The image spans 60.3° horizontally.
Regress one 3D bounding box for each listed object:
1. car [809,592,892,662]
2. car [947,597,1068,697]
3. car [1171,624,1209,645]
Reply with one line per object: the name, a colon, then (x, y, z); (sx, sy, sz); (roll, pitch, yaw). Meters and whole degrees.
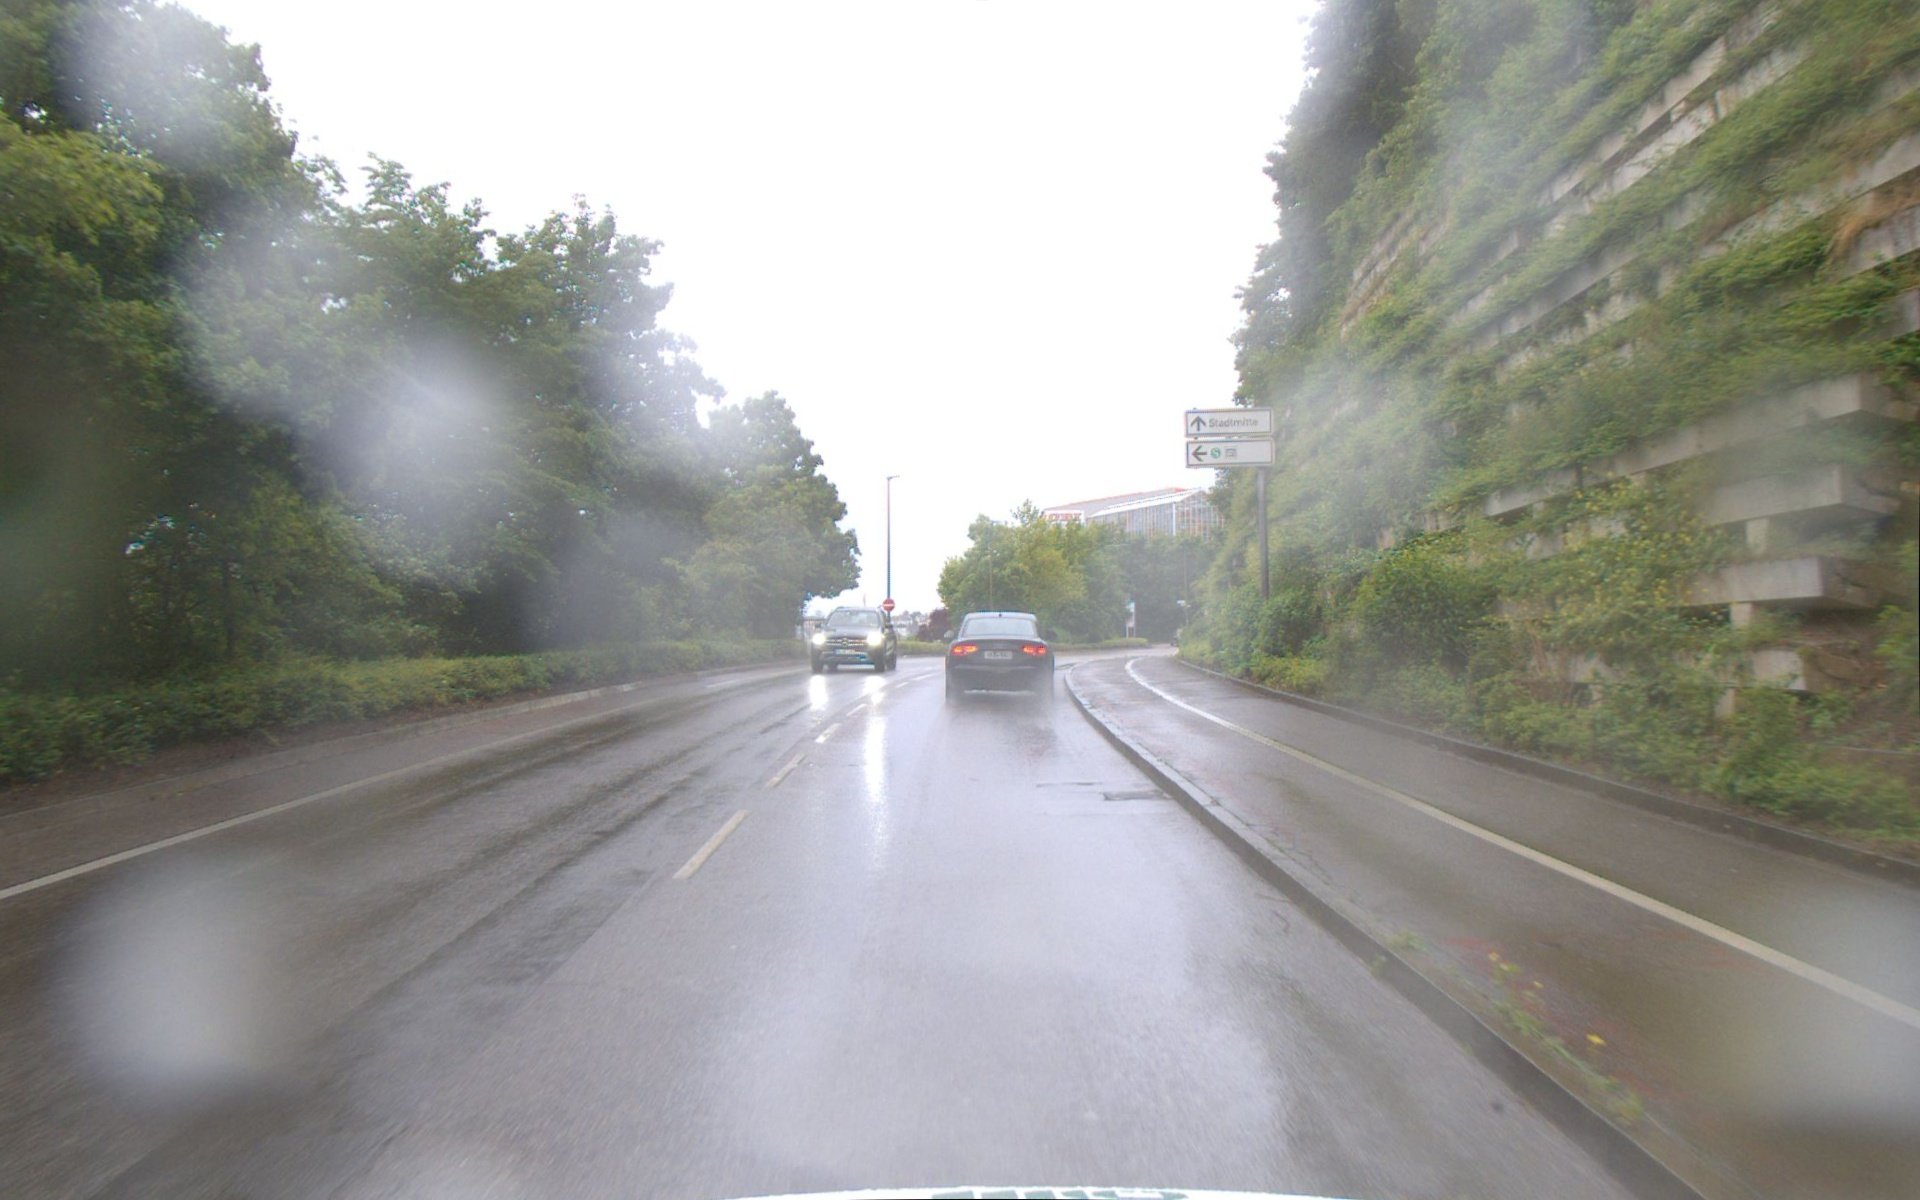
car: (-2.781, 0.664, 42.842); (1.792, 1.736, 4.333); (0, 0, 1)
car: (0.792, 0.717, 27.409); (1.853, 1.518, 4.208); (0, 0, 2)
car: (19.707, 2.953, 141.798); (1.955, 1.771, 3.994); (-2, -1, 29)
